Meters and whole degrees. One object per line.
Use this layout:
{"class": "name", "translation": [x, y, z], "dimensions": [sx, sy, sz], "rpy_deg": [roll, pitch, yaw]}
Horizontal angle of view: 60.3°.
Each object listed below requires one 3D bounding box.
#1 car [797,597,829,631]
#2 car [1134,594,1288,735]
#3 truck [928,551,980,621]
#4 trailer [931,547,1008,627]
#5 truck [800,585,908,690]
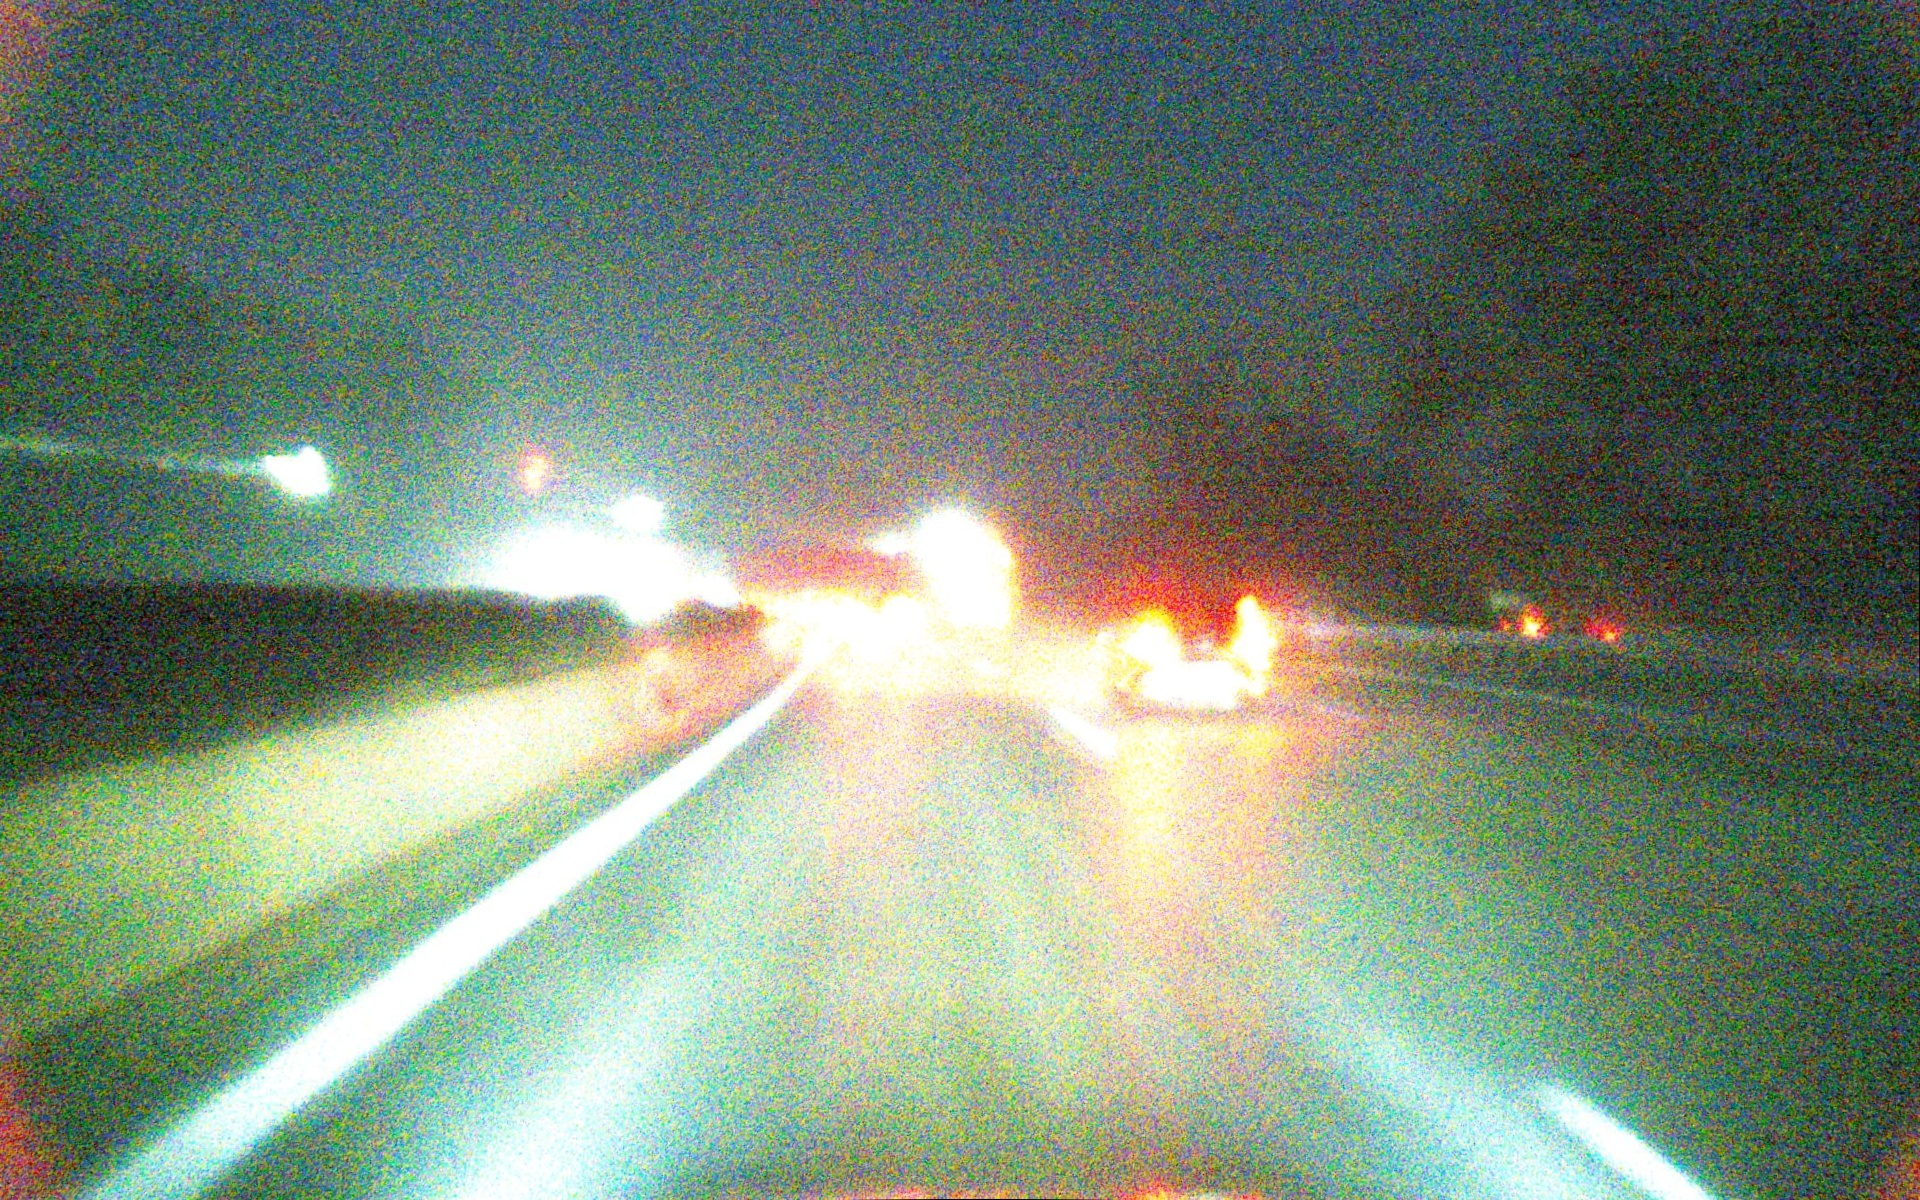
{"class": "car", "translation": [-9.500, 0.905, 106.851], "dimensions": [1.955, 2.049, 3.994], "rpy_deg": [-1, -1, -6]}
{"class": "car", "translation": [3.195, 0.762, 21.709], "dimensions": [1.762, 1.645, 4.259], "rpy_deg": [1, 0, 6]}
{"class": "truck", "translation": [-0.394, -0.882, 104.127], "dimensions": [2.659, 4.315, 5.285], "rpy_deg": [1, 0, -7]}
{"class": "trailer", "translation": [0.415, -0.880, 97.546], "dimensions": [2.687, 4.321, 13.351], "rpy_deg": [-1, 1, -7]}
{"class": "truck", "translation": [-2.423, 0.786, 39.480], "dimensions": [2.102, 2.113, 6.602], "rpy_deg": [5, 0, -1]}
